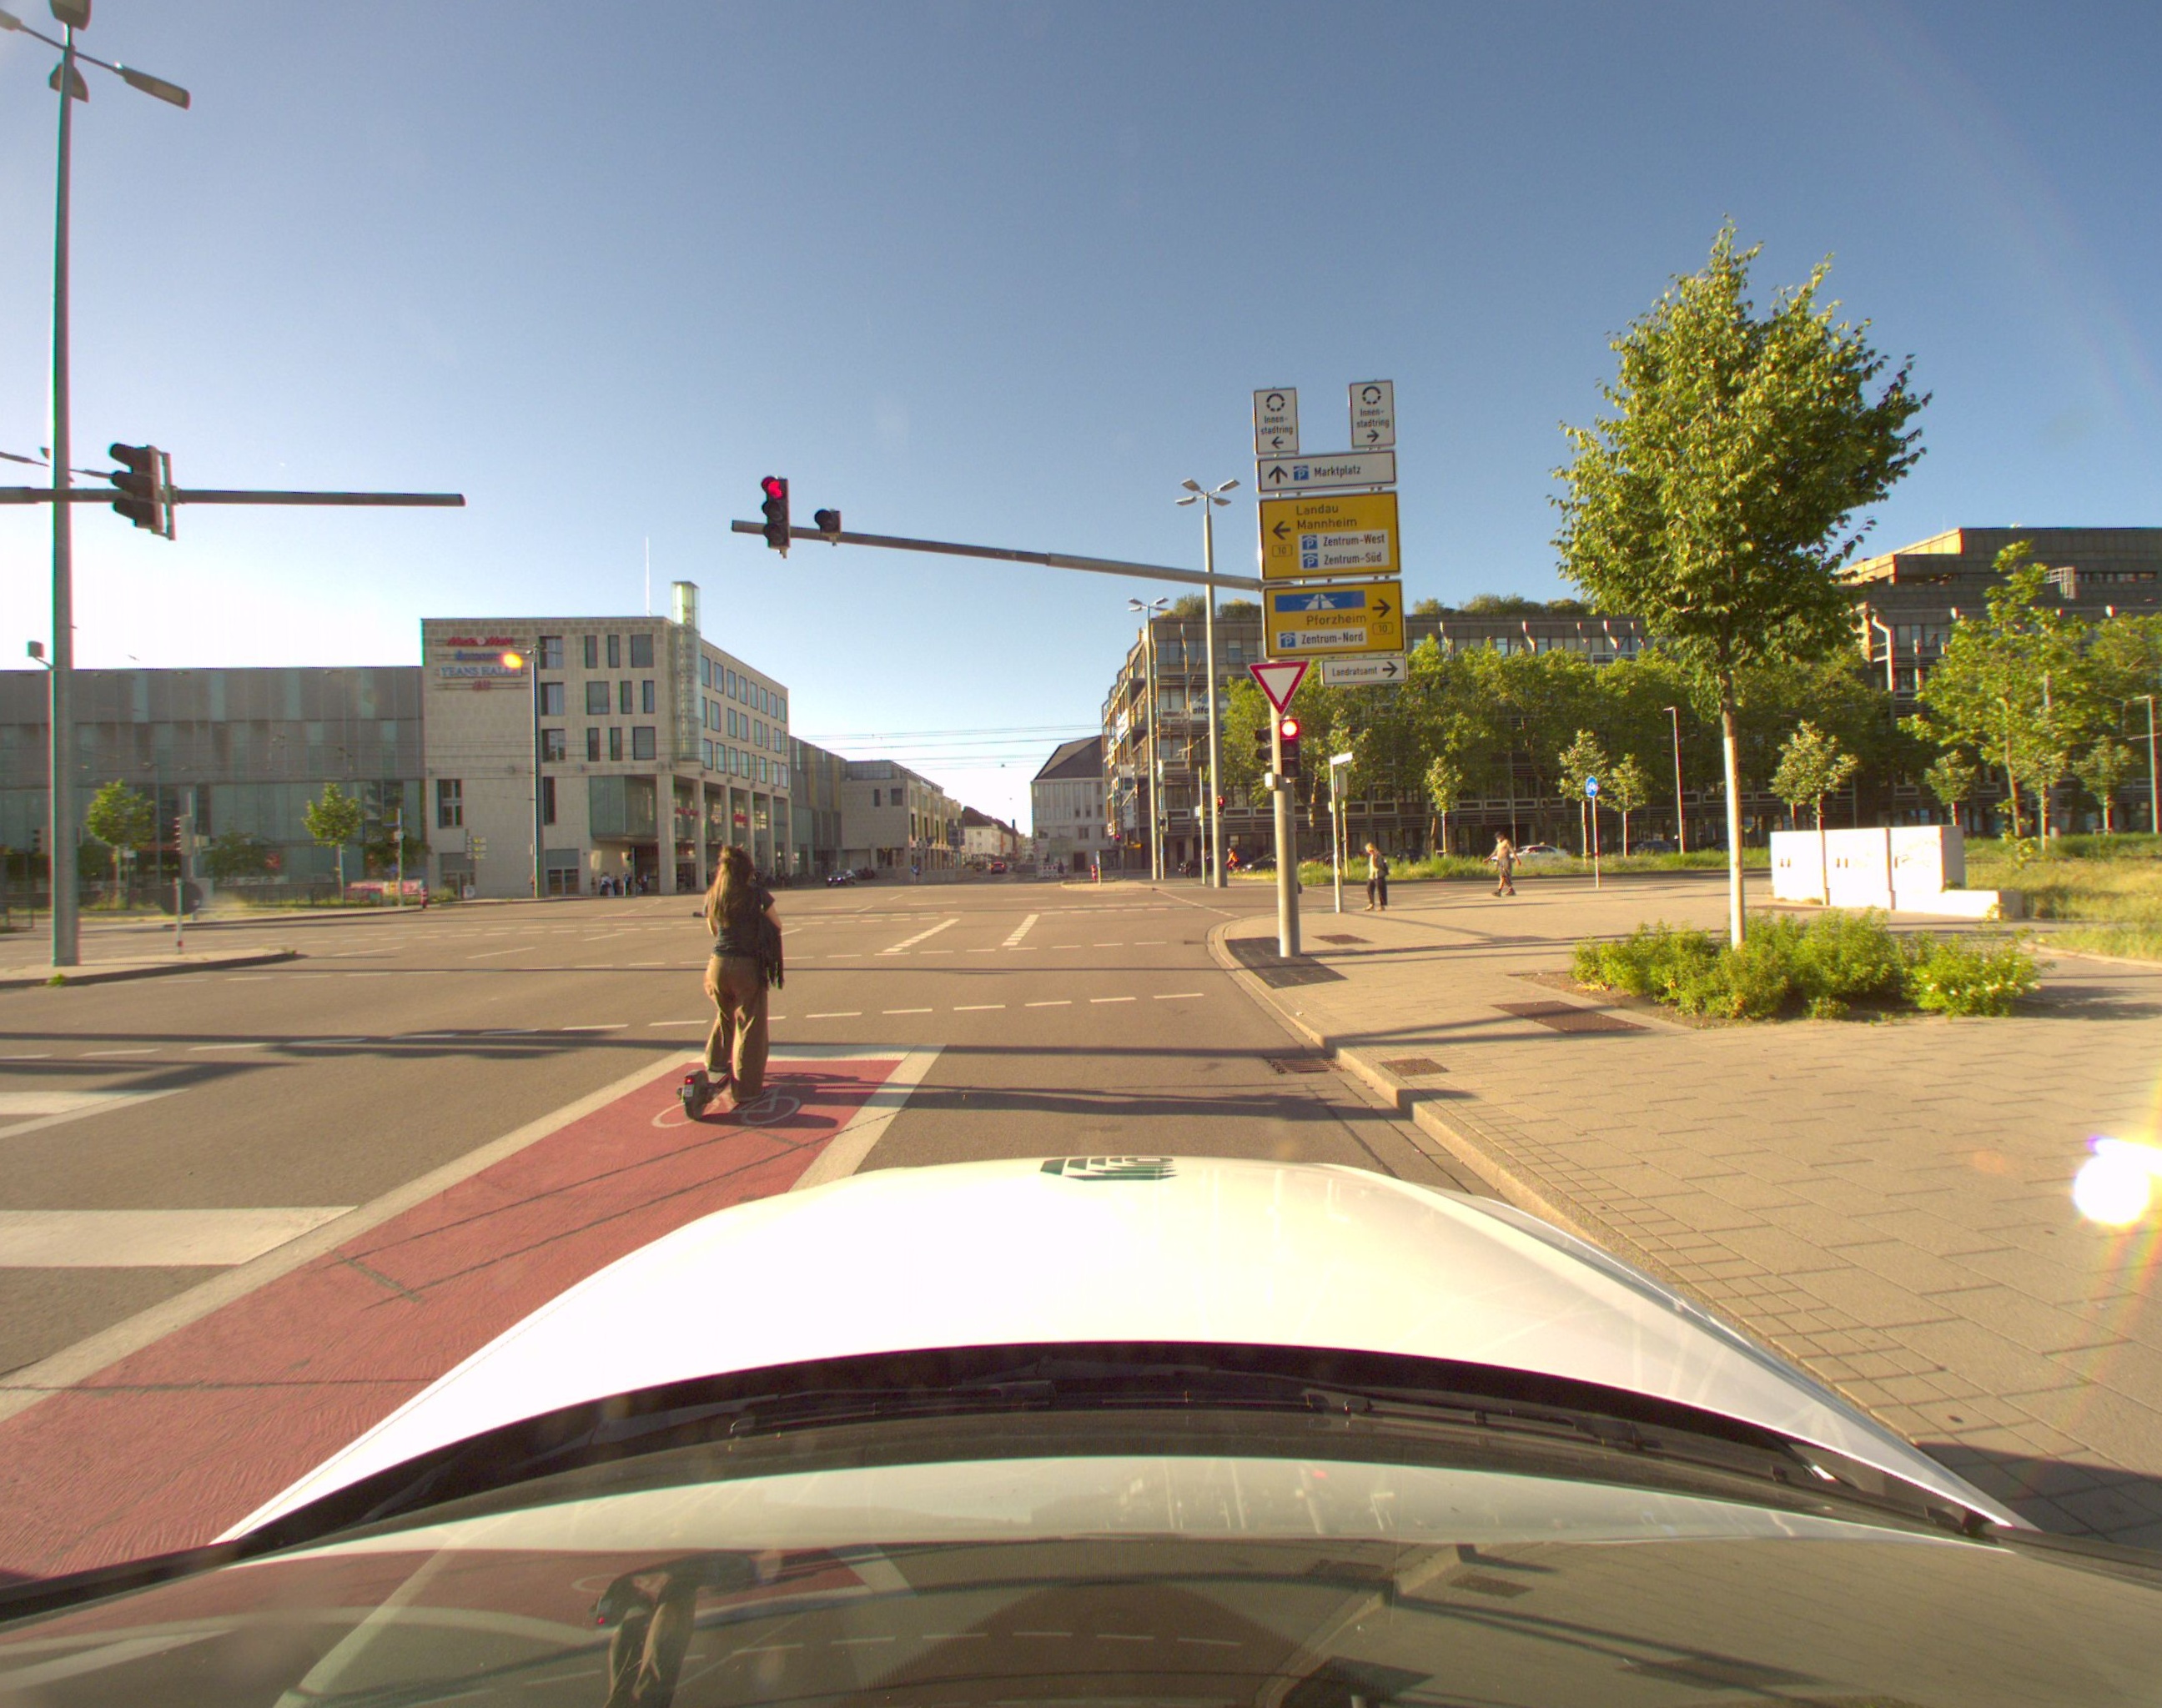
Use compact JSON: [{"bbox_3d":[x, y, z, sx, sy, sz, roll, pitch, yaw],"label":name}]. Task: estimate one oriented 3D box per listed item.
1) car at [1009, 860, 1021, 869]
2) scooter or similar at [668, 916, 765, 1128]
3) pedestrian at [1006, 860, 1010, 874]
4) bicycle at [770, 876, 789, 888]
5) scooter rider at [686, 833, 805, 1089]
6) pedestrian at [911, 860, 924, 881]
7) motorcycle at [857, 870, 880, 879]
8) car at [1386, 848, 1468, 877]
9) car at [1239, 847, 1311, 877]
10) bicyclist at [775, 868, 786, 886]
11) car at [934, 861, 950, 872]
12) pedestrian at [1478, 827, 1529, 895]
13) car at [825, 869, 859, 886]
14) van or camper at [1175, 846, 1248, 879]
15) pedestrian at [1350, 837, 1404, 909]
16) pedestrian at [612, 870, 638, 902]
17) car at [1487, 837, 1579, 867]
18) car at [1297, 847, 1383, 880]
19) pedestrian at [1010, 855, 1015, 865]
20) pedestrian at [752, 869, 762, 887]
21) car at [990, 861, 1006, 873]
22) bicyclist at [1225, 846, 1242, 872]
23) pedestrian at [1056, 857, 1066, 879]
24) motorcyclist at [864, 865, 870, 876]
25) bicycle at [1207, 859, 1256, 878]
[{"bbox_3d":[-11.893,1.839,146.608,1.652,1.458,3.543,-2,0,2],"label":"car"},{"bbox_3d":[-2.191,0.964,4.954,0.306,1.107,0.835,-2,0,-9],"label":"scooter or similar"},{"bbox_3d":[-8.905,1.576,99.071,0.490,1.664,0.529,0,-1,-12],"label":"pedestrian"},{"bbox_3d":[-25.135,2.345,67.899,0.633,0.903,2.220,-2,0,3],"label":"bicycle"},{"bbox_3d":[-2.112,0.645,5.175,0.552,1.530,0.448,-2,0,-7],"label":"scooter rider"},{"bbox_3d":[-12.936,1.308,64.381,0.771,1.638,0.628,-2,0,12],"label":"pedestrian"},{"bbox_3d":[-25.849,2.468,98.961,2.600,0.993,1.113,0,-1,-8],"label":"motorcycle"},{"bbox_3d":[21.717,0.531,51.232,4.392,1.684,1.824,-2,0,-2],"label":"car"},{"bbox_3d":[11.968,0.476,50.382,3.973,1.684,1.761,-2,0,0],"label":"car"},{"bbox_3d":[-25.138,1.950,68.161,0.623,1.448,0.589,-2,0,3],"label":"bicyclist"},{"bbox_3d":[-20.979,1.895,122.907,1.652,1.458,3.543,-2,0,2],"label":"car"},{"bbox_3d":[10.987,0.175,21.213,0.869,1.706,0.768,-2,0,0],"label":"pedestrian"},{"bbox_3d":[-20.653,2.020,70.531,1.670,1.357,4.021,-2,0,1],"label":"car"},{"bbox_3d":[8.543,0.553,53.530,4.404,2.013,1.993,-2,0,-3],"label":"van or camper"},{"bbox_3d":[6.883,0.431,18.956,0.872,1.614,0.765,-2,0,-12],"label":"pedestrian"},{"bbox_3d":[-25.143,1.766,44.913,0.821,1.675,1.004,-2,0,-2],"label":"pedestrian"},{"bbox_3d":[28.572,-0.115,51.573,4.831,1.684,1.824,-2,0,-2],"label":"car"},{"bbox_3d":[14.670,0.529,46.236,4.287,1.684,1.820,-2,0,-9],"label":"car"},{"bbox_3d":[-13.895,1.198,165.264,0.907,1.965,0.823,0,-1,1],"label":"pedestrian"},{"bbox_3d":[-29.707,2.196,74.661,0.590,1.646,0.629,-2,0,1],"label":"pedestrian"},{"bbox_3d":[-11.015,1.756,108.530,1.652,1.458,3.543,-2,0,2],"label":"car"},{"bbox_3d":[8.825,0.311,47.072,0.820,1.474,0.652,-2,0,-2],"label":"bicyclist"},{"bbox_3d":[-1.555,1.098,64.523,0.697,1.688,0.620,-2,0,2],"label":"pedestrian"},{"bbox_3d":[-26.071,2.021,99.178,0.627,1.406,0.661,0,-1,-7],"label":"motorcyclist"},{"bbox_3d":[8.679,0.824,47.055,2.561,0.975,1.047,-2,0,-1],"label":"bicycle"}]
